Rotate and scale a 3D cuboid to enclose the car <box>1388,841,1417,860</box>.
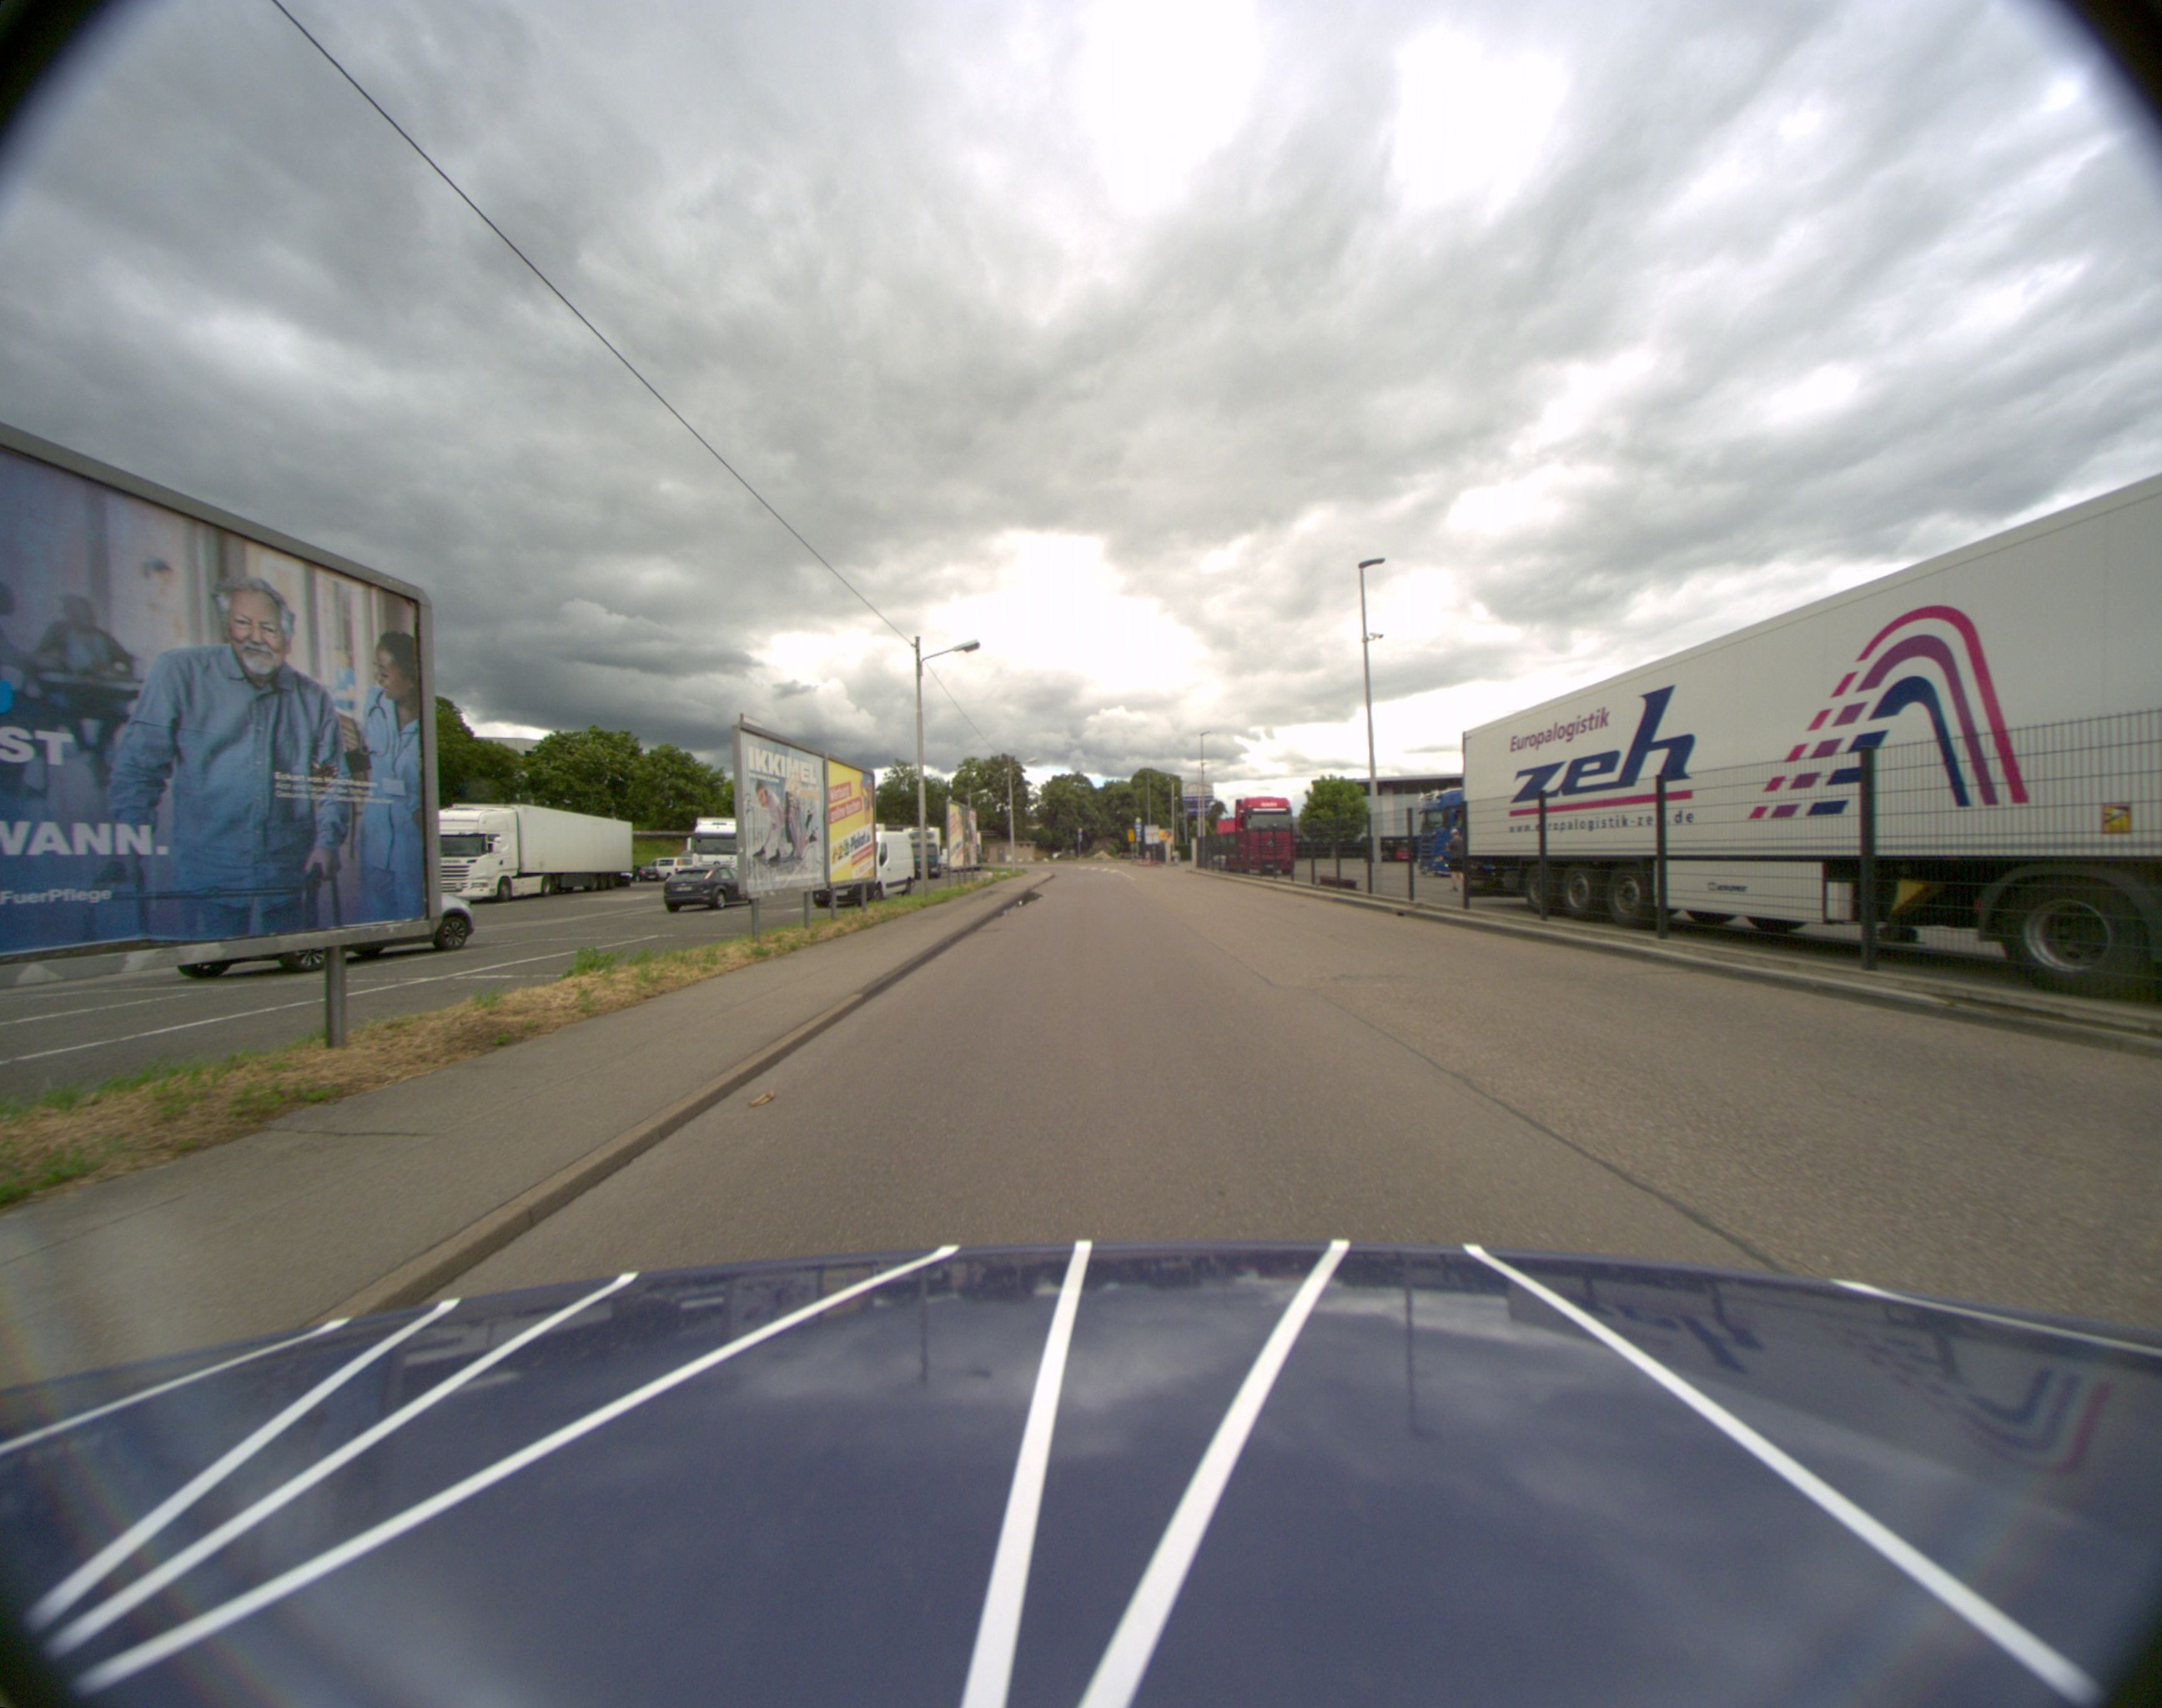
[{"bbox_3d":[31.807,-0.363,75.200,1.996,1.707,4.004,-1,1,14],"label":"car"}]

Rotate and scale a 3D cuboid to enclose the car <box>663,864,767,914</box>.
[{"bbox_3d":[-12.568,1.152,26.376,1.497,1.486,4.053,-1,0,2],"label":"car"}]

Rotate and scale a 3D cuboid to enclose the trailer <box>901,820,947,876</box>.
[{"bbox_3d":[-13.129,-0.458,62.649,2.841,4.071,13.378,0,0,-15],"label":"trailer"}]

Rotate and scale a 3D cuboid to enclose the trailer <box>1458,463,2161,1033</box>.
[{"bbox_3d":[9.916,-0.808,10.582,3.366,4.136,13.851,1,1,4],"label":"trailer"}]

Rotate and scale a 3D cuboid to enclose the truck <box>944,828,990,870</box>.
[{"bbox_3d":[-10.969,-0.434,72.424,2.832,3.690,9.090,-2,1,-17],"label":"truck"}]

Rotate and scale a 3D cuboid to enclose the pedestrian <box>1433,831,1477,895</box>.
[{"bbox_3d":[10.917,0.245,22.180,0.805,1.809,0.880,-1,1,-2],"label":"pedestrian"}]

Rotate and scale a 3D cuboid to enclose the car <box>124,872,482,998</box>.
[{"bbox_3d":[-12.593,1.196,12.761,1.769,1.562,3.999,-3,0,0],"label":"car"}]

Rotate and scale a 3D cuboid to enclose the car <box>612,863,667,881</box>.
[{"bbox_3d":[-36.729,1.502,63.183,4.707,1.431,2.004,-1,1,32],"label":"car"}]

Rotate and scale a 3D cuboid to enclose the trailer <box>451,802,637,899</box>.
[{"bbox_3d":[-26.503,-0.165,38.686,2.841,4.071,13.380,0,0,-13],"label":"trailer"}]

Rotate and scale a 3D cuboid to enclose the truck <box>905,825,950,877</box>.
[{"bbox_3d":[-11.484,-0.230,56.485,2.876,3.609,6.748,0,0,-14],"label":"truck"}]

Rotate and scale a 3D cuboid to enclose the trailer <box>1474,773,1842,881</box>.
[{"bbox_3d":[23.643,-1.102,32.252,12.020,4.109,3.052,1,1,19],"label":"trailer"}]

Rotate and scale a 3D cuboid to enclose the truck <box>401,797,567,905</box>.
[{"bbox_3d":[-24.953,-0.121,32.265,2.876,4.071,6.748,0,0,-13],"label":"truck"}]

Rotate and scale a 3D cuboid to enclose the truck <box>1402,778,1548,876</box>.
[{"bbox_3d":[17.307,-1.152,33.687,4.878,4.109,3.048,0,1,1],"label":"truck"}]

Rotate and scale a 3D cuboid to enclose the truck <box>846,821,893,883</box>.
[{"bbox_3d":[-14.484,-0.118,52.322,2.876,3.990,6.748,0,0,-14],"label":"truck"}]

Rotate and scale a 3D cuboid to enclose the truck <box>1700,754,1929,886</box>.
[{"bbox_3d":[25.068,-1.100,26.349,4.870,4.181,3.053,1,1,23],"label":"truck"}]

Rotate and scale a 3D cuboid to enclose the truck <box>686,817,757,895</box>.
[{"bbox_3d":[-20.208,0.096,43.126,2.877,4.071,6.745,0,0,-19],"label":"truck"}]

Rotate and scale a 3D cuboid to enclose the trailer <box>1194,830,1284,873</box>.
[{"bbox_3d":[9.051,-0.184,45.243,3.046,2.179,12.047,0,1,1],"label":"trailer"}]

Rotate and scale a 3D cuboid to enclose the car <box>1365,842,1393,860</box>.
[{"bbox_3d":[29.365,-0.298,74.987,1.996,1.707,4.004,-1,1,14],"label":"car"}]

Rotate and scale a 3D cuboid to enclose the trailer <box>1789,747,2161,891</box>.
[{"bbox_3d":[31.307,-1.033,23.720,13.158,4.189,3.053,1,1,23],"label":"trailer"}]

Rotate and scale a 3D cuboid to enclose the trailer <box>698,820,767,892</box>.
[{"bbox_3d":[-22.597,0.087,49.959,2.842,4.071,13.373,0,0,-19],"label":"trailer"}]

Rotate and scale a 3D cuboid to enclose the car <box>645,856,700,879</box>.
[{"bbox_3d":[-34.917,1.142,64.891,4.707,1.881,2.004,-1,1,32],"label":"car"}]

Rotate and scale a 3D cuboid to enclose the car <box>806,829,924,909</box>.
[{"bbox_3d":[-7.266,0.441,26.392,2.091,2.401,6.083,-1,0,2],"label":"car"}]

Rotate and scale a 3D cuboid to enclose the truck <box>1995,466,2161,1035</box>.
[{"bbox_3d":[9.386,-0.726,3.603,3.366,4.136,5.628,1,1,4],"label":"truck"}]

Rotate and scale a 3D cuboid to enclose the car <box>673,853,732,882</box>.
[{"bbox_3d":[-33.339,1.229,66.948,4.906,2.435,2.375,-1,1,32],"label":"car"}]

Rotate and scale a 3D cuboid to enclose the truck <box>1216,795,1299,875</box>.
[{"bbox_3d":[8.975,-0.940,39.325,3.021,3.827,5.670,0,1,1],"label":"truck"}]
